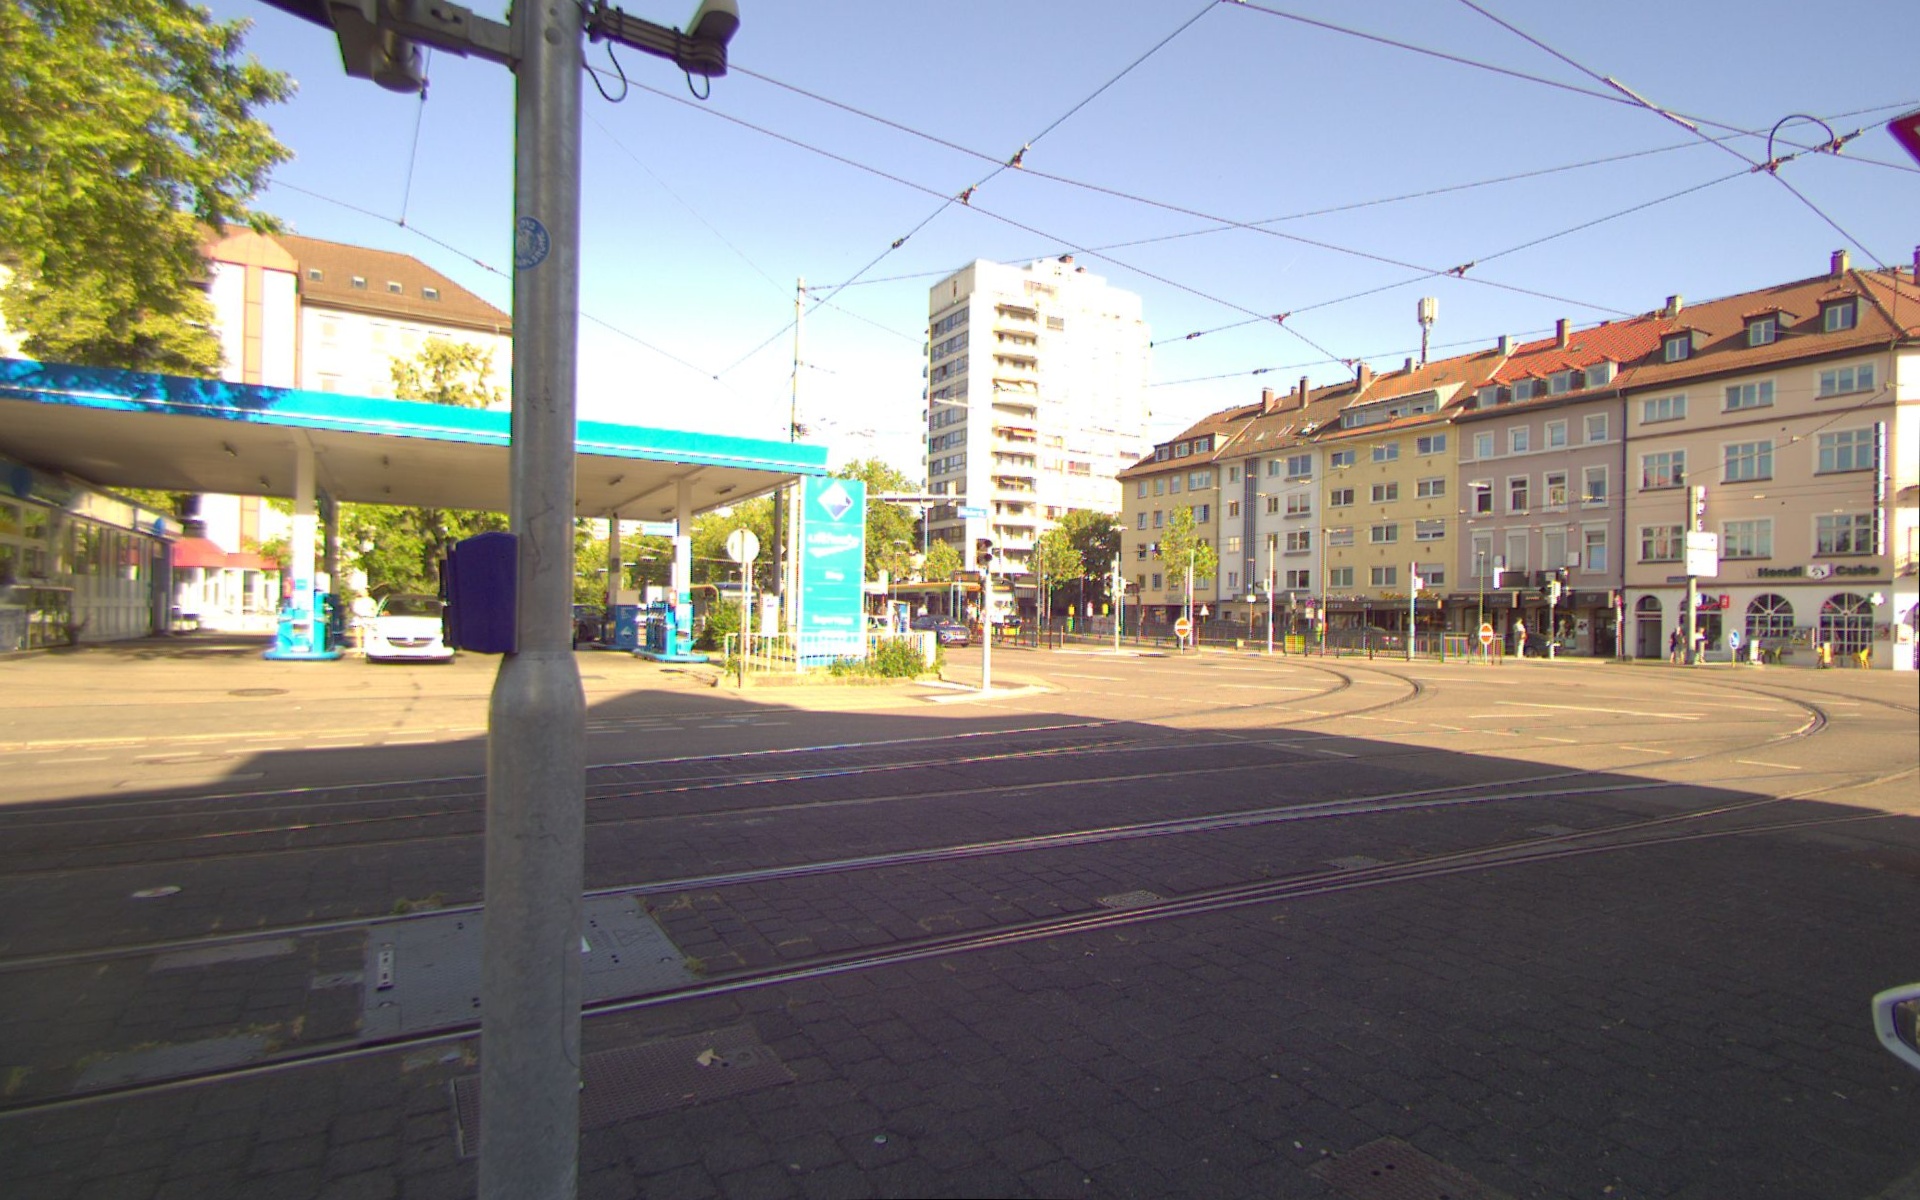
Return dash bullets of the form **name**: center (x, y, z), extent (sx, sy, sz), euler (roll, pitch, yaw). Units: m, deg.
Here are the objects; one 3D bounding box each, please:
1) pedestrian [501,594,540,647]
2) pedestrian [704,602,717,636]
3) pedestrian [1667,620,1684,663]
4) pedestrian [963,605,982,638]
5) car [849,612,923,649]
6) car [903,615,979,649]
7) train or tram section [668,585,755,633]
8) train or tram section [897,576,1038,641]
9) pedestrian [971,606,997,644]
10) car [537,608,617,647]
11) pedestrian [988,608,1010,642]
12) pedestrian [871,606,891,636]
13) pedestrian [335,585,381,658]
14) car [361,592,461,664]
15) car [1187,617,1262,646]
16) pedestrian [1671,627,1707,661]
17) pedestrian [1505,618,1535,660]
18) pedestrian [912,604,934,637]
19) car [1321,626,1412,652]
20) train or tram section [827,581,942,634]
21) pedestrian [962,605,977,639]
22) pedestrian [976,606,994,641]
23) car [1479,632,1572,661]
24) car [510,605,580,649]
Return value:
- **pedestrian**: center (-15.422, 0.729, 35.268), extent (0.896, 1.826, 0.893), euler (0, -1, 34)
- **pedestrian**: center (-13.193, 0.995, 53.123), extent (0.539, 1.809, 0.492), euler (1, -1, -29)
- **pedestrian**: center (34.207, 1.984, 48.016), extent (0.498, 2.040, 0.507), euler (1, -1, -27)
- **pedestrian**: center (0.650, 1.130, 52.519), extent (0.773, 1.721, 0.692), euler (1, -1, -33)
- **car**: center (-3.510, 1.397, 46.802), extent (1.976, 1.615, 3.970), euler (1, -1, -29)
- **car**: center (-0.962, 1.496, 48.344), extent (1.937, 1.475, 4.077), euler (1, 0, -30)
- **train or tram section**: center (-15.034, 0.459, 60.036), extent (2.233, 2.627, 10.398), euler (2, 0, -30)
- **train or tram section**: center (0.227, 0.523, 58.960), extent (3.252, 3.459, 10.157), euler (1, -1, -33)
- **pedestrian**: center (1.159, 1.212, 48.583), extent (0.902, 1.826, 0.887), euler (1, -1, -33)
- **car**: center (-17.207, 1.217, 45.379), extent (1.960, 1.685, 4.001), euler (1, -1, 2)
- **pedestrian**: center (1.915, 1.243, 49.097), extent (0.791, 1.646, 0.706), euler (1, -1, -33)
- **pedestrian**: center (-4.834, 1.298, 61.280), extent (0.902, 1.826, 0.887), euler (1, -1, -33)
- **pedestrian**: center (-13.917, 0.504, 23.222), extent (0.801, 1.652, 0.643), euler (1, -1, -24)
- **car**: center (-12.276, 0.606, 22.430), extent (1.773, 1.461, 3.968), euler (2, -1, -30)
- **car**: center (16.594, 1.971, 63.280), extent (1.976, 1.694, 4.489), euler (1, -1, -30)
- **pedestrian**: center (35.682, 2.141, 49.158), extent (1.029, 1.612, 1.061), euler (1, -1, -28)
- **pedestrian**: center (24.492, 1.696, 43.951), extent (0.801, 1.842, 0.871), euler (1, -1, -29)
- **pedestrian**: center (-2.076, 1.126, 56.350), extent (0.902, 1.826, 0.887), euler (1, -1, -33)
- **car**: center (22.900, 2.172, 56.754), extent (1.977, 1.358, 4.487), euler (1, -1, -31)
- **train or tram section**: center (-5.254, 0.529, 67.578), extent (3.252, 3.335, 10.157), euler (1, -1, -33)
- **pedestrian**: center (0.484, 1.143, 51.549), extent (0.491, 1.721, 0.553), euler (1, -1, -33)
- **pedestrian**: center (1.240, 1.173, 50.424), extent (0.549, 1.721, 0.740), euler (1, -1, -33)
- **car**: center (30.772, 2.499, 54.710), extent (1.980, 1.483, 3.962), euler (1, -1, -34)
- **car**: center (-13.506, 0.866, 32.574), extent (1.752, 1.332, 3.520), euler (1, -1, -28)
